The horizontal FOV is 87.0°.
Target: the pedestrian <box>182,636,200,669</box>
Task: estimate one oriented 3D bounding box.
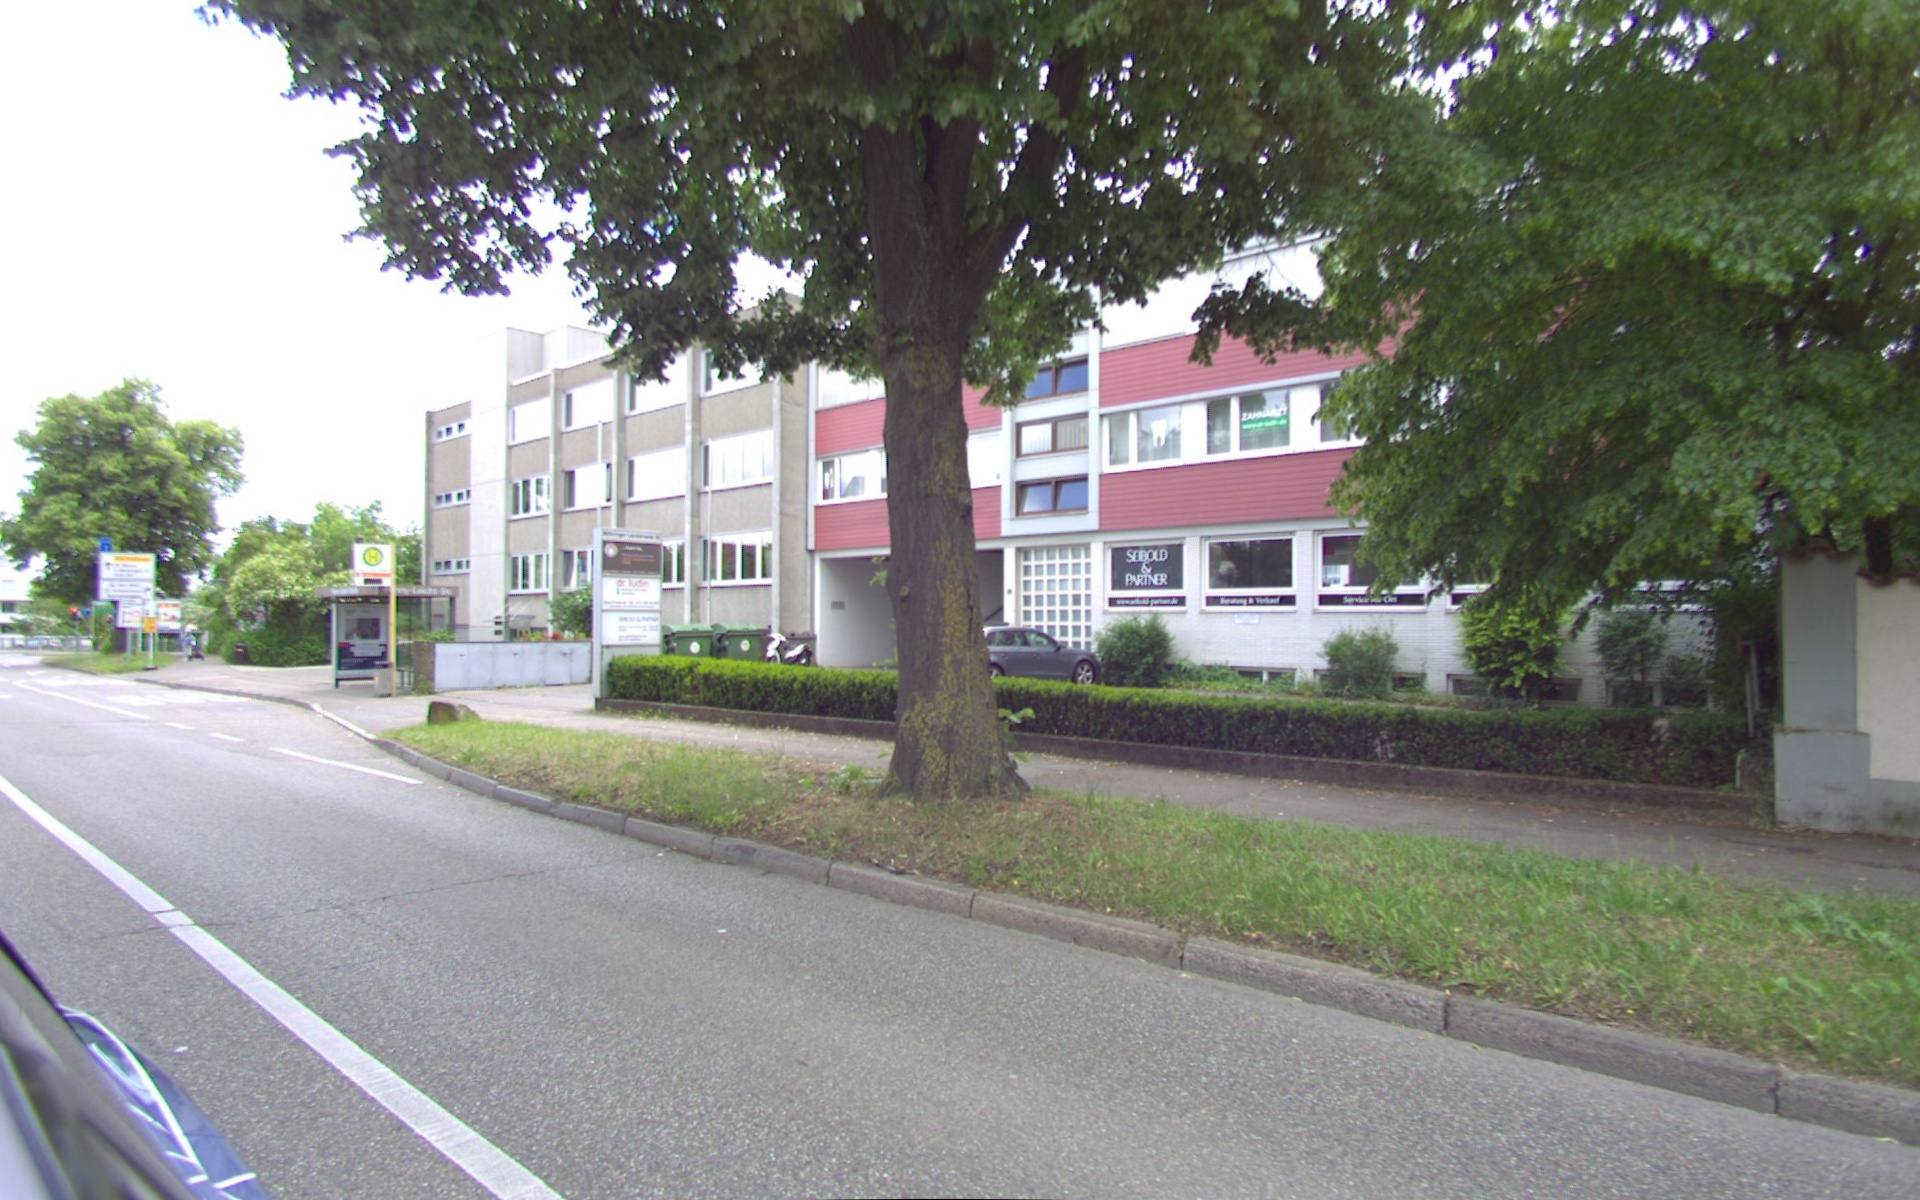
[{"bbox_3d":[-37.681,2.567,49.591,0.662,1.570,0.521,0,-1,-32],"label":"pedestrian"}]

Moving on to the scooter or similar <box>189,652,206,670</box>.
[{"bbox_3d":[-36.792,2.942,48.846,0.598,0.792,0.861,0,-1,-32],"label":"scooter or similar"}]

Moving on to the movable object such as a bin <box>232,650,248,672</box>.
[{"bbox_3d":[-31.041,2.626,43.640,0.558,0.934,0.609,0,-1,-33],"label":"movable object such as a bin"}]

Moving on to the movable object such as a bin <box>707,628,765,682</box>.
[{"bbox_3d":[-6.421,1.549,29.004,0.884,1.476,1.347,-1,-1,41],"label":"movable object such as a bin"}]

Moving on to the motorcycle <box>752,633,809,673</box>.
[{"bbox_3d":[-5.369,1.571,30.336,0.639,1.148,1.624,-1,-1,41],"label":"motorcycle"}]

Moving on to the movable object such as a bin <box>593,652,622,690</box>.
[{"bbox_3d":[-9.231,1.862,26.525,0.562,0.946,0.510,-1,-1,41],"label":"movable object such as a bin"}]

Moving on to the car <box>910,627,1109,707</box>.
[{"bbox_3d":[1.126,1.393,22.123,4.082,1.490,1.817,0,-1,-35],"label":"car"}]

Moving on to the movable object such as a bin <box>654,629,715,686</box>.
[{"bbox_3d":[-7.561,1.557,27.765,0.992,1.476,1.285,-1,-1,41],"label":"movable object such as a bin"}]
